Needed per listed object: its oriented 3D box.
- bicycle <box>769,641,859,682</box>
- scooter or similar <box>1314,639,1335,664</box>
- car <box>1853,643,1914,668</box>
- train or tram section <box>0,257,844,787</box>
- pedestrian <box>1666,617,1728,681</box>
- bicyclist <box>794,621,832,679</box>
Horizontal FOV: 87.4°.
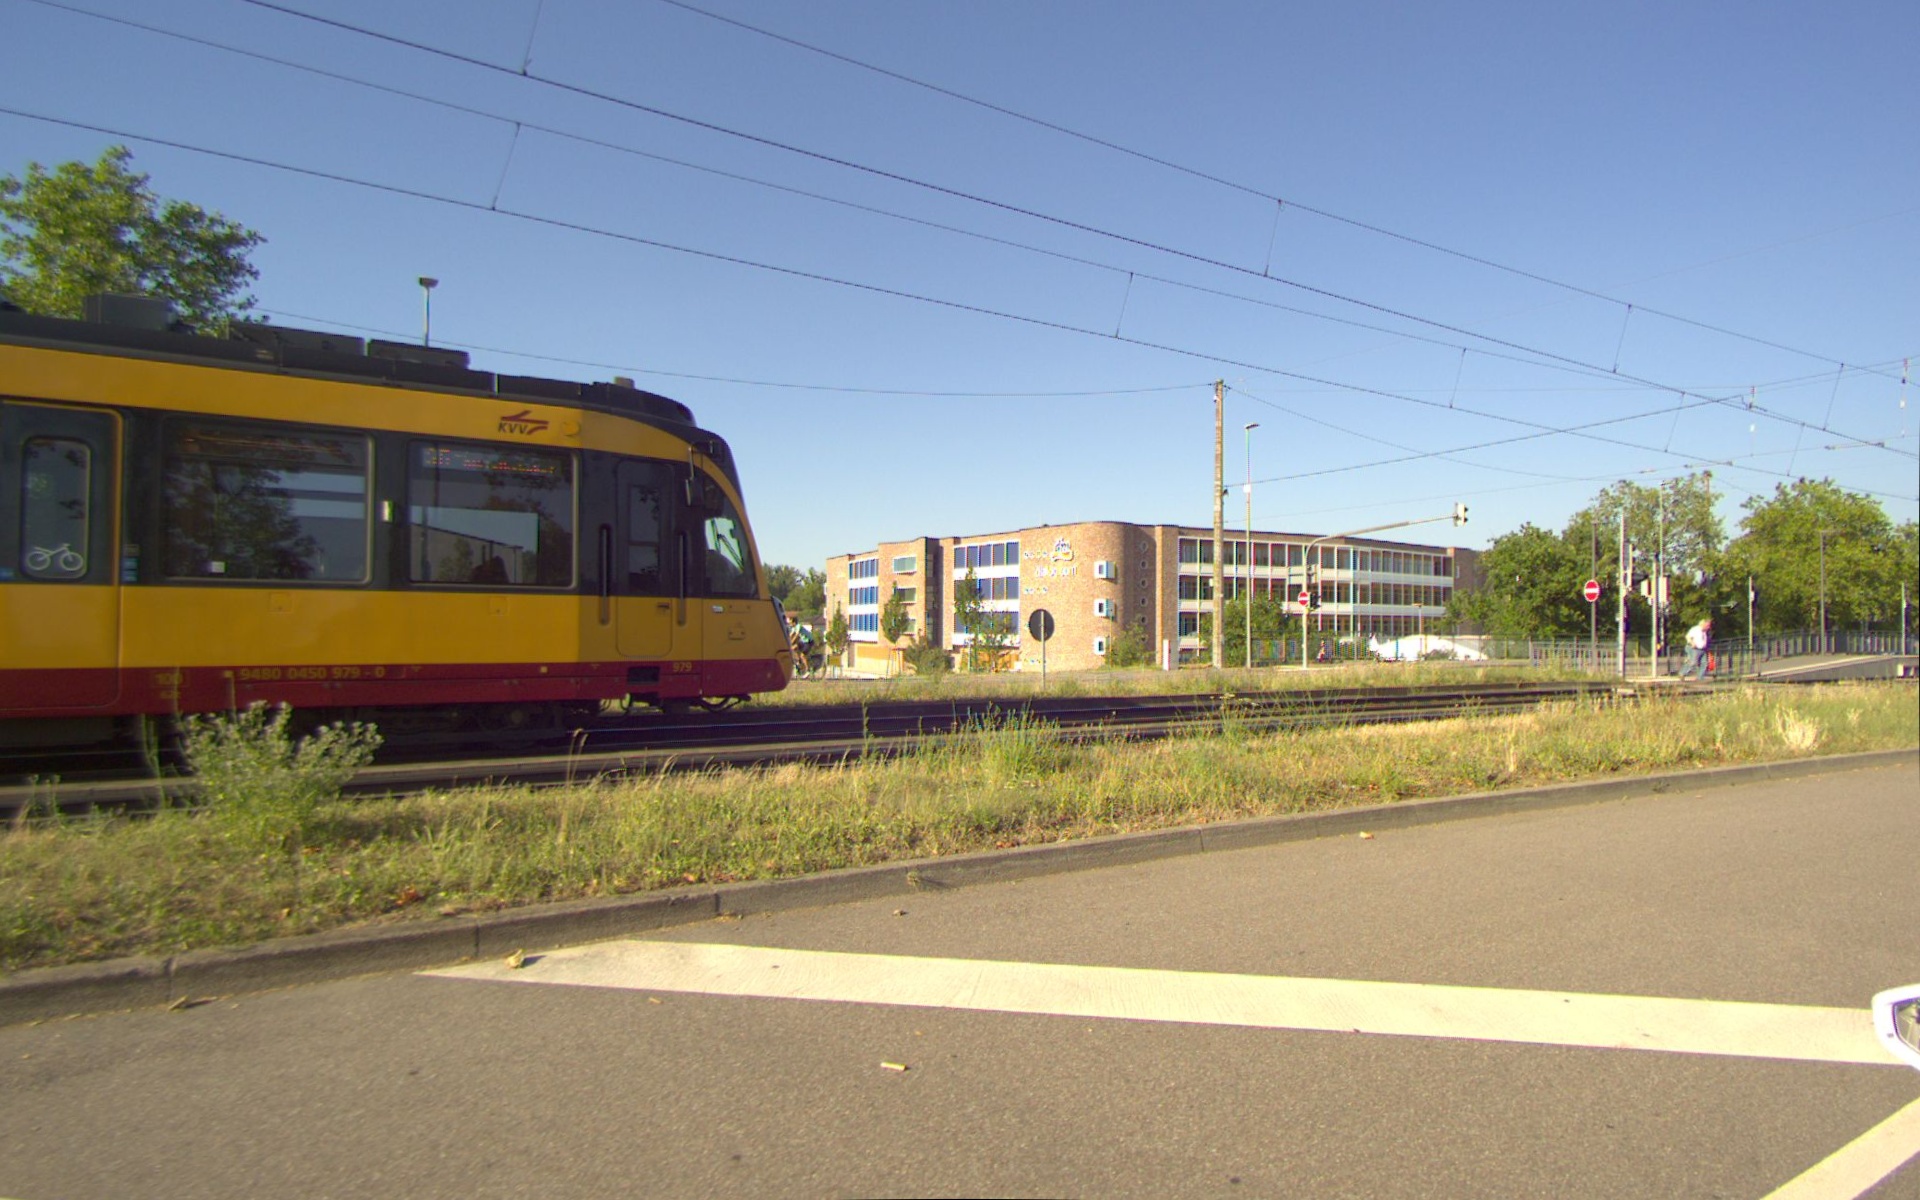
[{"bbox_3d":[-4.194,1.752,28.919,2.499,1.142,0.628,1,-1,-31],"label":"bicycle"},{"bbox_3d":[16.428,2.328,45.271,1.127,1.110,0.399,2,-2,-42],"label":"scooter or similar"},{"bbox_3d":[57.423,3.455,62.467,3.953,1.465,1.724,1,-2,-31],"label":"car"},{"bbox_3d":[-7.151,-0.558,9.300,11.973,3.999,2.869,1,-1,-31],"label":"train or tram section"},{"bbox_3d":[19.498,1.291,26.595,0.968,1.666,0.891,1,-1,-7],"label":"pedestrian"},{"bbox_3d":[-4.226,1.435,28.874,0.825,1.638,0.765,1,-1,-30],"label":"bicyclist"}]
